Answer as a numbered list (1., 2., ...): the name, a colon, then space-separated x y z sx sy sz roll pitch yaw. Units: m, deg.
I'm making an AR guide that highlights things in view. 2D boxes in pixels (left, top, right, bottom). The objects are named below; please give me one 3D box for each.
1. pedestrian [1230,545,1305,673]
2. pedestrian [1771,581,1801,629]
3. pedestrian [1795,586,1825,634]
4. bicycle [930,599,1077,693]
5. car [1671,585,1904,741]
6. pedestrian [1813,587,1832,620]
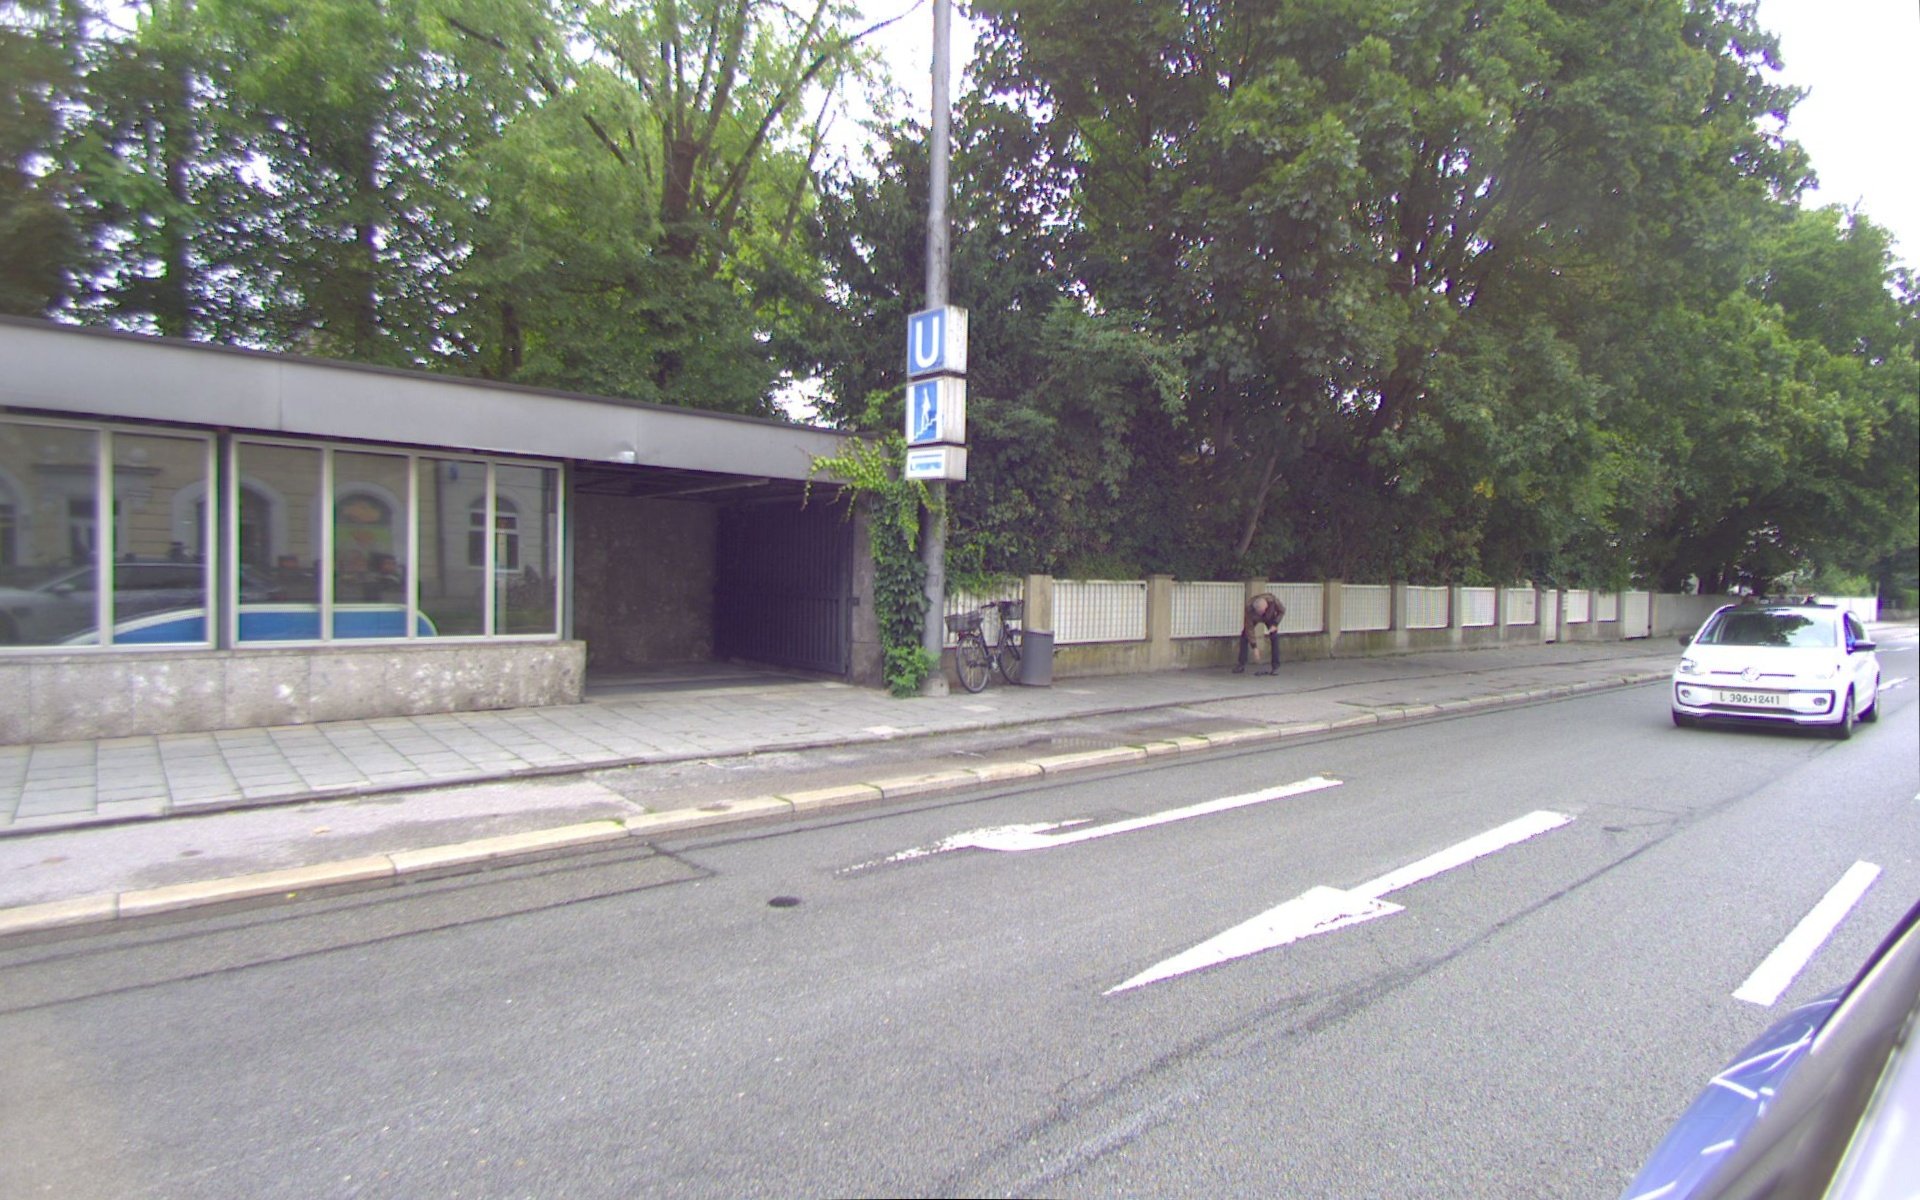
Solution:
1. pedestrian: 4.874 0.122 16.056 0.788 1.966 0.779 0 2 -40
2. pedestrian: 30.637 0.188 37.534 0.753 1.726 0.667 0 3 -42
3. pedestrian: 31.072 0.356 36.990 0.716 1.713 0.667 0 3 -42
4. bicycle: 0.584 0.546 12.892 1.991 1.104 0.623 0 1 -41
5. car: 10.080 0.638 12.253 3.524 1.581 1.645 0 1 -42
6. pedestrian: 42.176 0.172 49.481 0.716 1.600 0.529 0 3 -42
